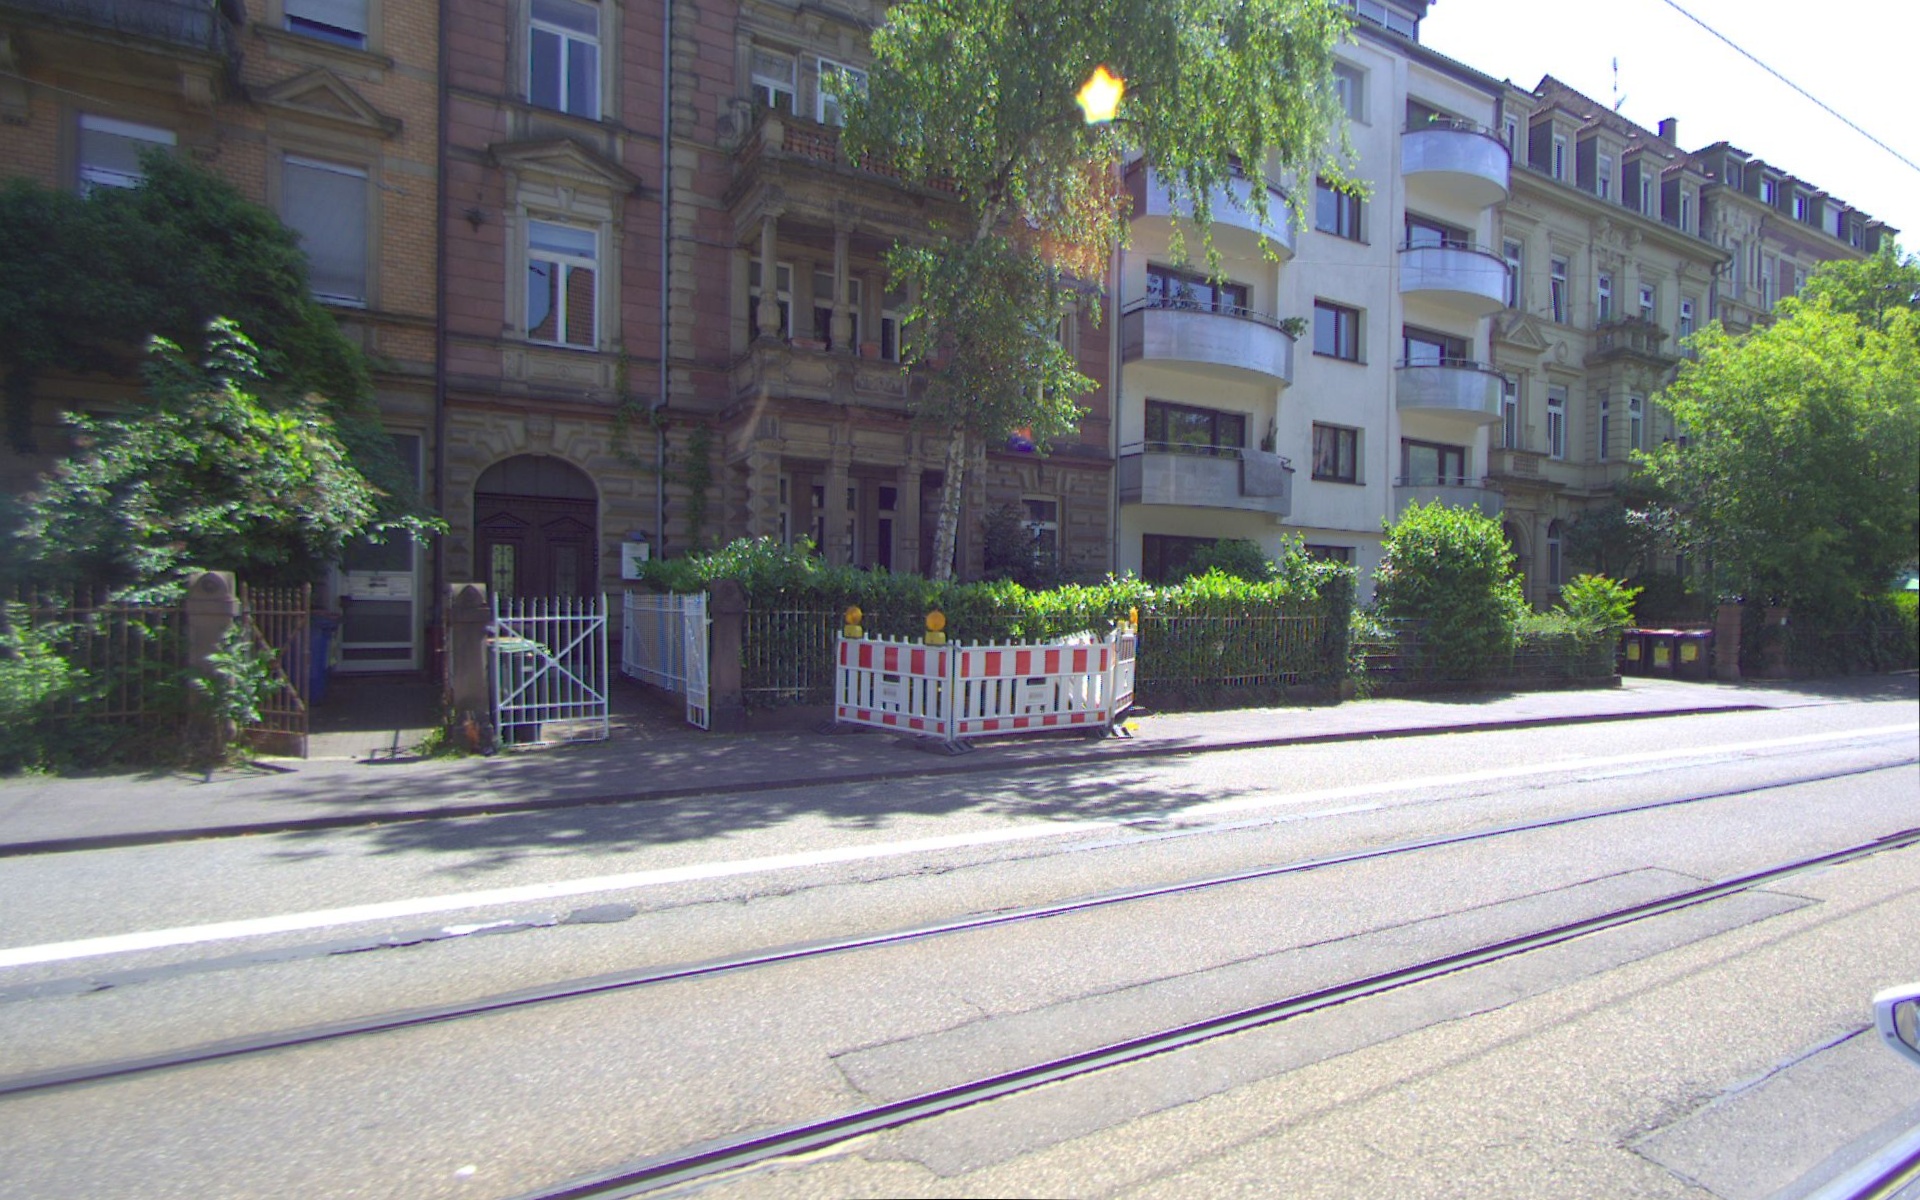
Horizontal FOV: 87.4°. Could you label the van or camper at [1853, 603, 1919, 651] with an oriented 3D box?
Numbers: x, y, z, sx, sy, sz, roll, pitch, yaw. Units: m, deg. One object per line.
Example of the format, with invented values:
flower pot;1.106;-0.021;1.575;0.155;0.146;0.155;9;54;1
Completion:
van or camper;44.382;1.253;46.547;4.714;2.148;1.996;1;0;-11
